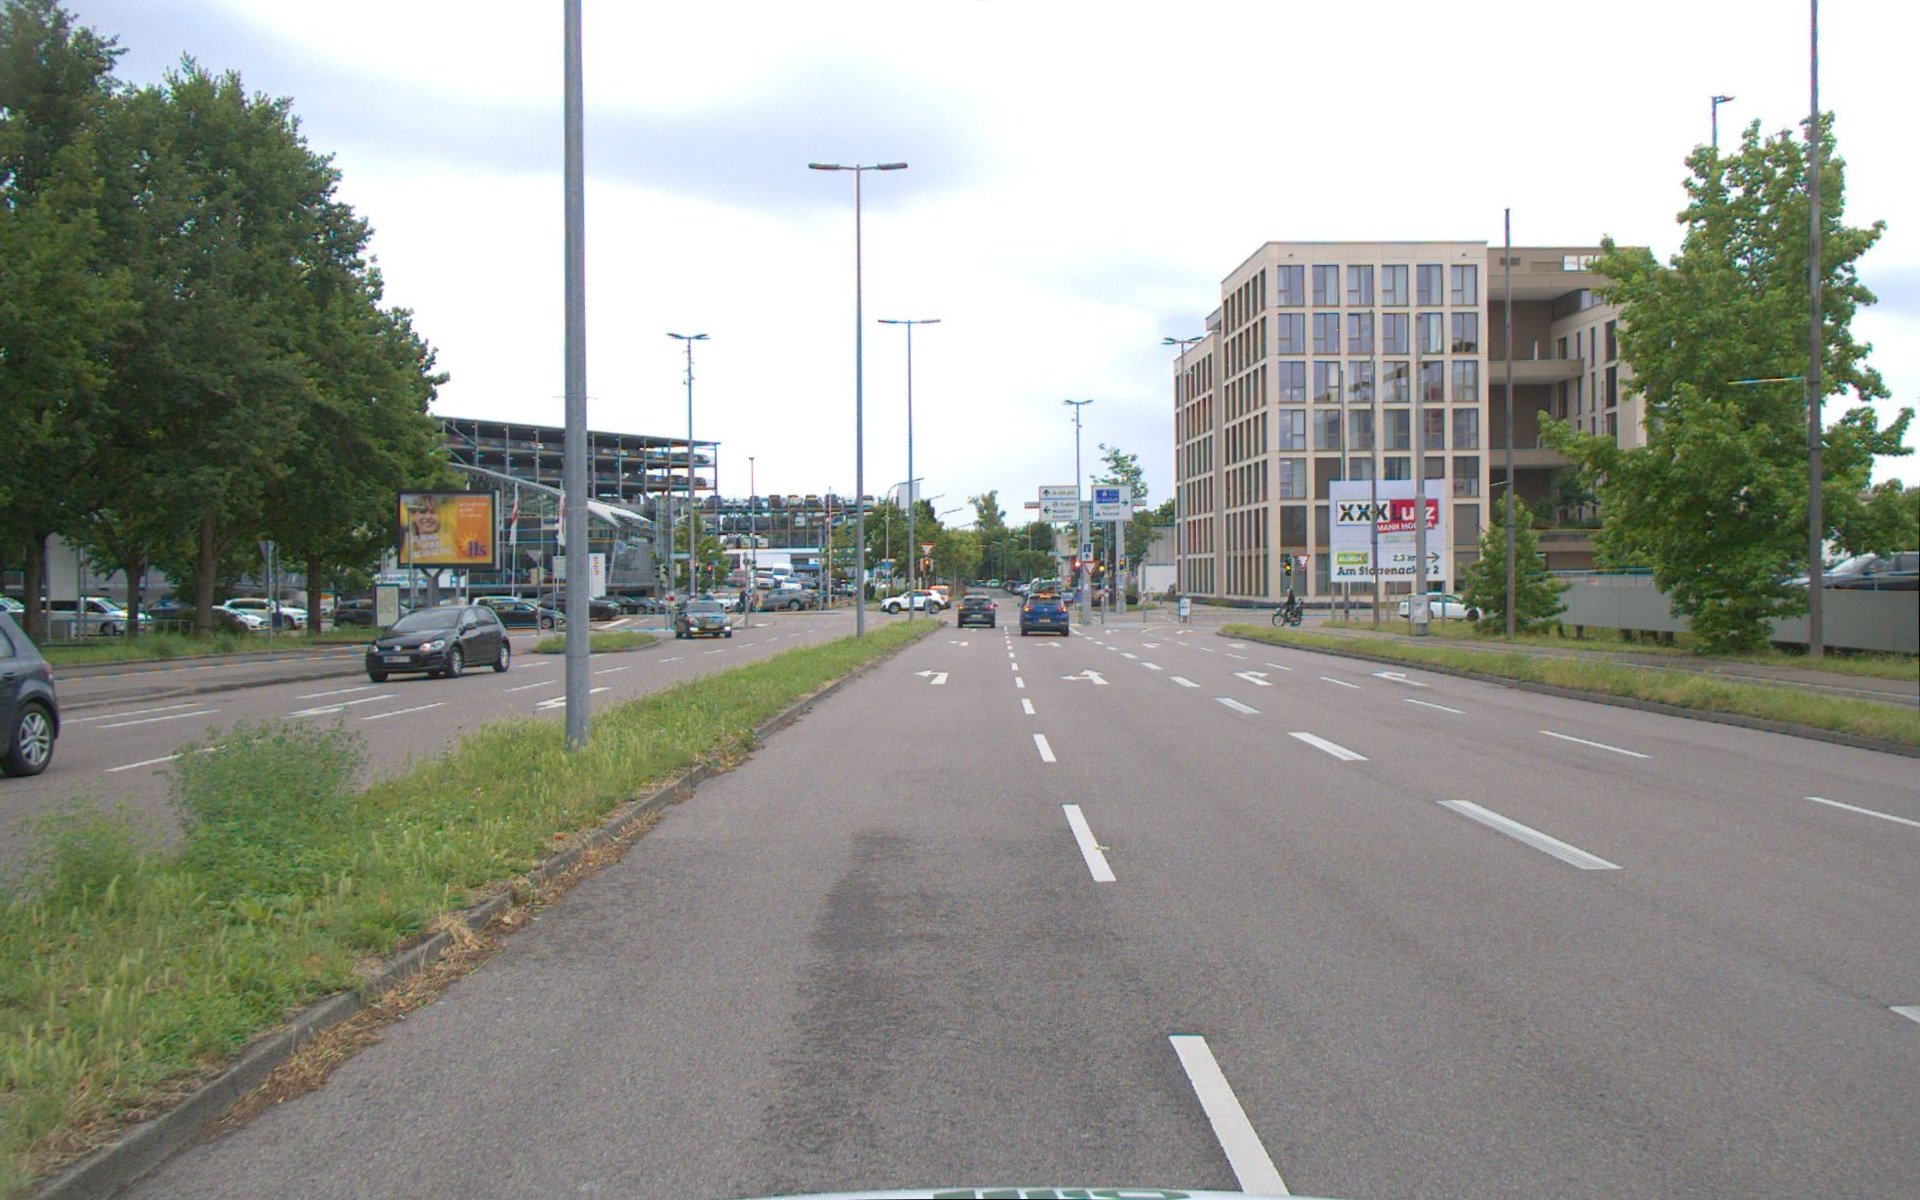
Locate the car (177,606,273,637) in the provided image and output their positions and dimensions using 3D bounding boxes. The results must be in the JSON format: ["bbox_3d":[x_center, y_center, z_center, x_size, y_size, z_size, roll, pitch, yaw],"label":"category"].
[{"bbox_3d":[-38.821,1.106,87.442,4.143,1.538,1.993,0,1,-4],"label":"car"}]

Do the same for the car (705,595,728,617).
[{"bbox_3d":[-16.762,0.423,113.834,1.348,1.349,3.024,-1,2,-14],"label":"car"}]

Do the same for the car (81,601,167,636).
[{"bbox_3d":[-45.685,1.003,90.421,3.685,1.776,1.879,-1,2,-3],"label":"car"}]

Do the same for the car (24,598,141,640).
[{"bbox_3d":[-46.024,0.984,86.796,5.030,1.998,1.880,0,3,-4],"label":"car"}]

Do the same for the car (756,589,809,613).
[{"bbox_3d":[-13.001,0.062,121.285,3.747,1.617,1.681,-1,2,-4],"label":"car"}]

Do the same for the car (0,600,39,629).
[{"bbox_3d":[-52.650,0.798,89.811,4.143,1.530,1.993,0,1,-4],"label":"car"}]

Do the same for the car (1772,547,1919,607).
[{"bbox_3d":[22.492,-0.587,41.132,3.795,1.408,1.720,-1,2,-2],"label":"car"}]

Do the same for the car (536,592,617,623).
[{"bbox_3d":[-21.990,0.424,95.007,4.321,1.672,1.996,-1,2,-9],"label":"car"}]

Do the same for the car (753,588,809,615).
[{"bbox_3d":[-12.843,0.074,119.045,3.908,1.821,1.846,-1,2,-4],"label":"car"}]

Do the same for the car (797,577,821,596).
[{"bbox_3d":[-14.871,-1.310,162.991,1.738,1.735,3.919,0,2,5],"label":"car"}]

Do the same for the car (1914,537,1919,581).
[{"bbox_3d":[33.326,-1.344,53.836,3.616,1.445,1.622,0,2,3],"label":"car"}]

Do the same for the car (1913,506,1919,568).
[{"bbox_3d":[37.254,-2.274,59.281,4.906,2.249,2.167,0,2,4],"label":"car"}]

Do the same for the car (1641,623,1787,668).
[{"bbox_3d":[22.504,1.347,49.445,3.618,1.197,1.720,0,2,-1],"label":"car"}]

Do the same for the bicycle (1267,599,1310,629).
[{"bbox_3d":[15.114,0.648,76.153,0.694,1.318,1.986,0,1,-35],"label":"bicycle"}]

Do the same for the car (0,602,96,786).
[{"bbox_3d":[-8.687,0.808,12.773,1.743,1.481,4.182,-2,0,1],"label":"car"}]

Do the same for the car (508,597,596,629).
[{"bbox_3d":[-21.781,0.699,88.469,4.331,1.689,1.997,0,0,-7],"label":"car"}]

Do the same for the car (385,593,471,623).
[{"bbox_3d":[-29.379,0.445,91.416,4.167,1.535,1.998,-1,2,-7],"label":"car"}]

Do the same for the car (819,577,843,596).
[{"bbox_3d":[-12.725,-1.326,163.024,1.738,1.735,3.919,0,2,5],"label":"car"}]

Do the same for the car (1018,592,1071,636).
[{"bbox_3d":[3.137,0.505,62.288,1.797,1.541,4.000,0,1,0],"label":"car"}]

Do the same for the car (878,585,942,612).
[{"bbox_3d":[-3.172,-0.124,105.245,3.871,1.595,1.756,-1,2,-11],"label":"car"}]

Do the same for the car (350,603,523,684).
[{"bbox_3d":[-10.674,0.850,34.036,1.890,1.481,4.184,-2,0,5],"label":"car"}]

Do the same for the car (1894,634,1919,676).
[{"bbox_3d":[33.847,1.855,56.058,3.545,1.308,1.459,0,2,2],"label":"car"}]

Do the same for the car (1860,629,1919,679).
[{"bbox_3d":[27.965,1.520,46.897,3.971,1.374,1.763,0,0,-1],"label":"car"}]

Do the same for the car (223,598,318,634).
[{"bbox_3d":[-37.730,0.855,90.623,4.346,1.740,1.999,-1,4,-5],"label":"car"}]

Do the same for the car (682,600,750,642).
[{"bbox_3d":[-9.453,0.782,64.470,1.754,1.505,4.533,-2,0,2],"label":"car"}]

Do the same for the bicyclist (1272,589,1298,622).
[{"bbox_3d":[14.979,0.255,76.330,0.694,1.530,0.987,0,1,-36],"label":"bicyclist"}]

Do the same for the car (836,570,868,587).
[{"bbox_3d":[-11.317,-2.257,173.259,3.229,1.669,1.479,-1,2,-3],"label":"car"}]

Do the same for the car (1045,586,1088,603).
[{"bbox_3d":[9.667,-0.512,150.099,3.529,1.504,1.760,0,2,21],"label":"car"}]

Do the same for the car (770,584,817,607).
[{"bbox_3d":[-13.044,-0.333,129.704,3.534,1.697,1.547,-1,2,-4],"label":"car"}]

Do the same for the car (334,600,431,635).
[{"bbox_3d":[-30.539,0.905,87.603,4.456,1.688,1.997,-2,1,-7],"label":"car"}]

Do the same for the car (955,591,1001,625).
[{"bbox_3d":[0.780,0.377,74.858,1.947,1.453,4.240,0,-1,-2],"label":"car"}]

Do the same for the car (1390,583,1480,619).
[{"bbox_3d":[24.736,0.048,86.186,4.089,1.783,1.996,0,0,-9],"label":"car"}]
